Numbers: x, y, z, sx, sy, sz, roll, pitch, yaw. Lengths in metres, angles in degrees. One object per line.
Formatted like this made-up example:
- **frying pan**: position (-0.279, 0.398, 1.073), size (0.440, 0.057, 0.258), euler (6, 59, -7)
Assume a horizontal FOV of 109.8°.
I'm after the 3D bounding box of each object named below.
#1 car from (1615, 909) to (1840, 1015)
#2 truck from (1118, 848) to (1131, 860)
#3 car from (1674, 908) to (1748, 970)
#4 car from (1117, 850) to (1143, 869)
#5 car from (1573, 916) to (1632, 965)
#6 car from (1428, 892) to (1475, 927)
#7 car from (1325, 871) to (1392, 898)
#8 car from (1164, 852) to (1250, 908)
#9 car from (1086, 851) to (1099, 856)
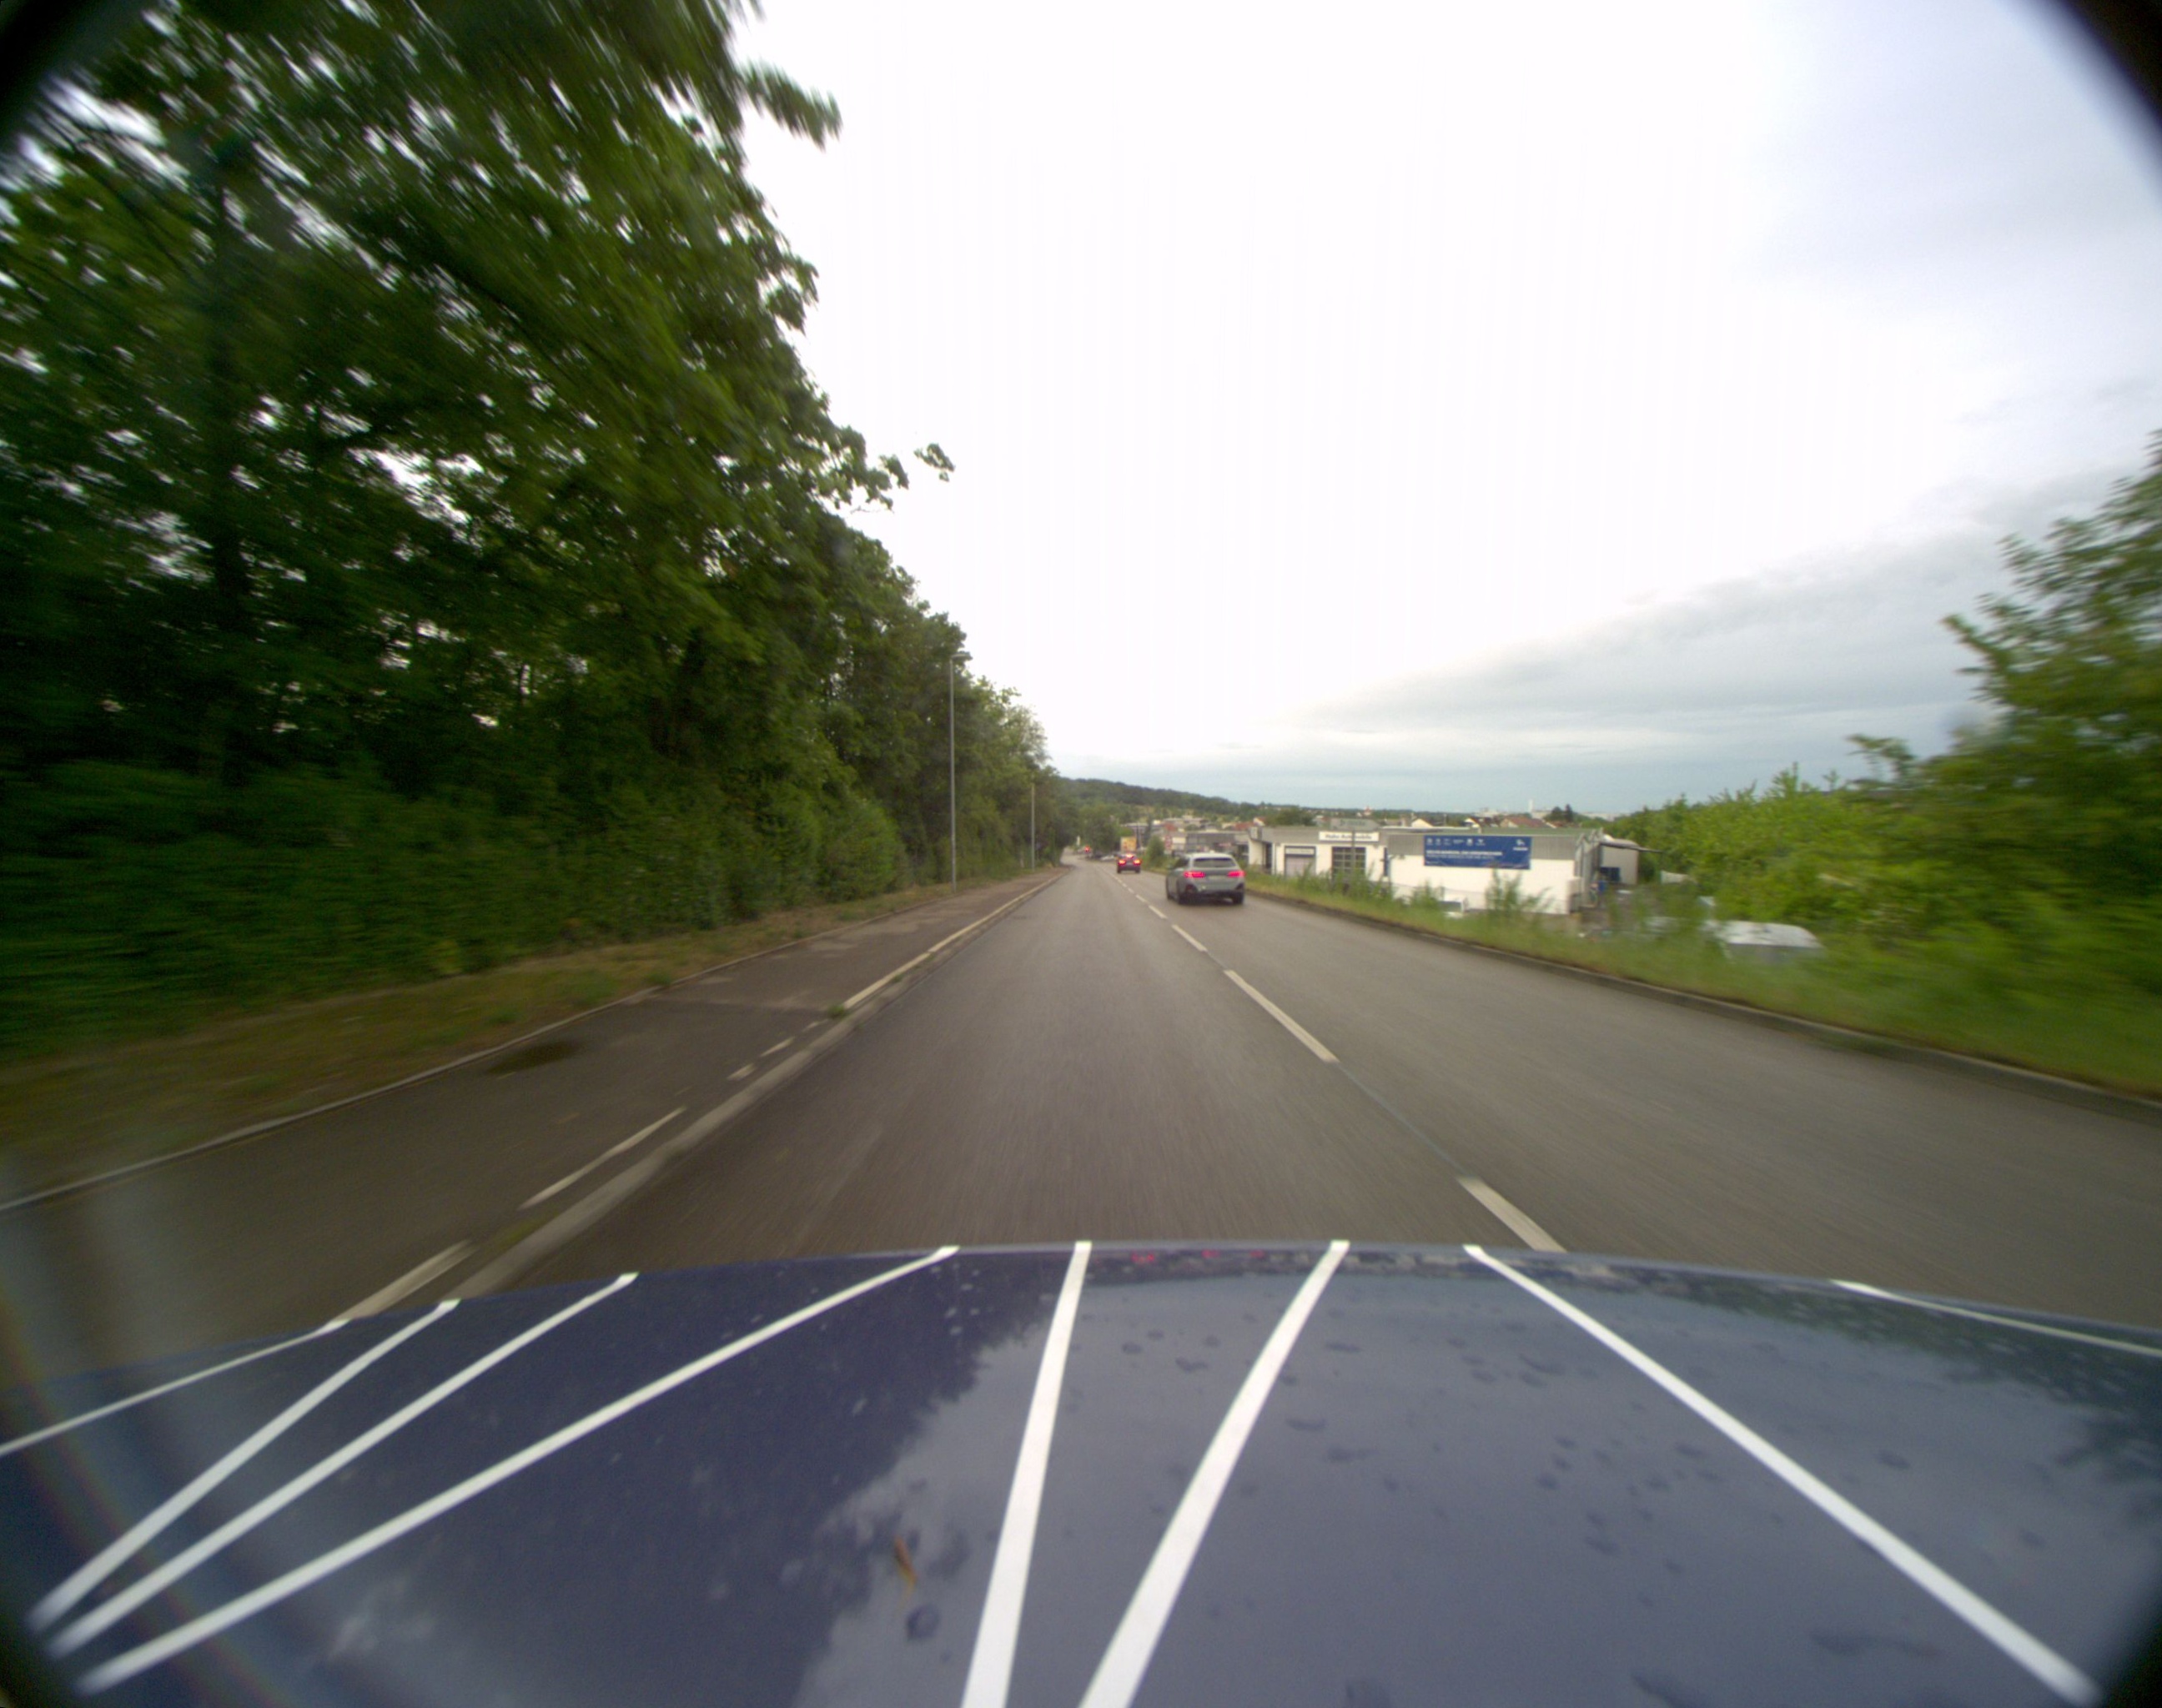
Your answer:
- **car**: position (14.746, 2.341, 17.802), size (1.986, 1.681, 4.934), euler (5, 0, 15)
- **truck**: position (9.830, -0.085, 172.632), size (1.999, 2.617, 7.889), euler (1, 1, -3)
- **car**: position (32.249, 4.246, 39.081), size (1.979, 2.447, 6.610), euler (4, 1, 33)
- **car**: position (4.204, 0.457, 65.735), size (1.873, 1.576, 4.414), euler (-2, 0, 0)
- **car**: position (23.271, 3.810, 34.056), size (1.861, 1.683, 4.652), euler (5, 0, 32)
- **car**: position (21.759, 3.196, 44.540), size (1.861, 1.793, 4.652), euler (5, 0, 32)
- **car**: position (22.554, 2.470, 61.839), size (4.625, 1.793, 1.872), euler (5, 1, 38)
- **car**: position (3.747, 0.710, 23.375), size (1.866, 1.495, 4.728), euler (-1, 1, 0)
- **car**: position (3.308, -0.152, 220.834), size (3.768, 1.559, 1.671), euler (0, 2, -3)
